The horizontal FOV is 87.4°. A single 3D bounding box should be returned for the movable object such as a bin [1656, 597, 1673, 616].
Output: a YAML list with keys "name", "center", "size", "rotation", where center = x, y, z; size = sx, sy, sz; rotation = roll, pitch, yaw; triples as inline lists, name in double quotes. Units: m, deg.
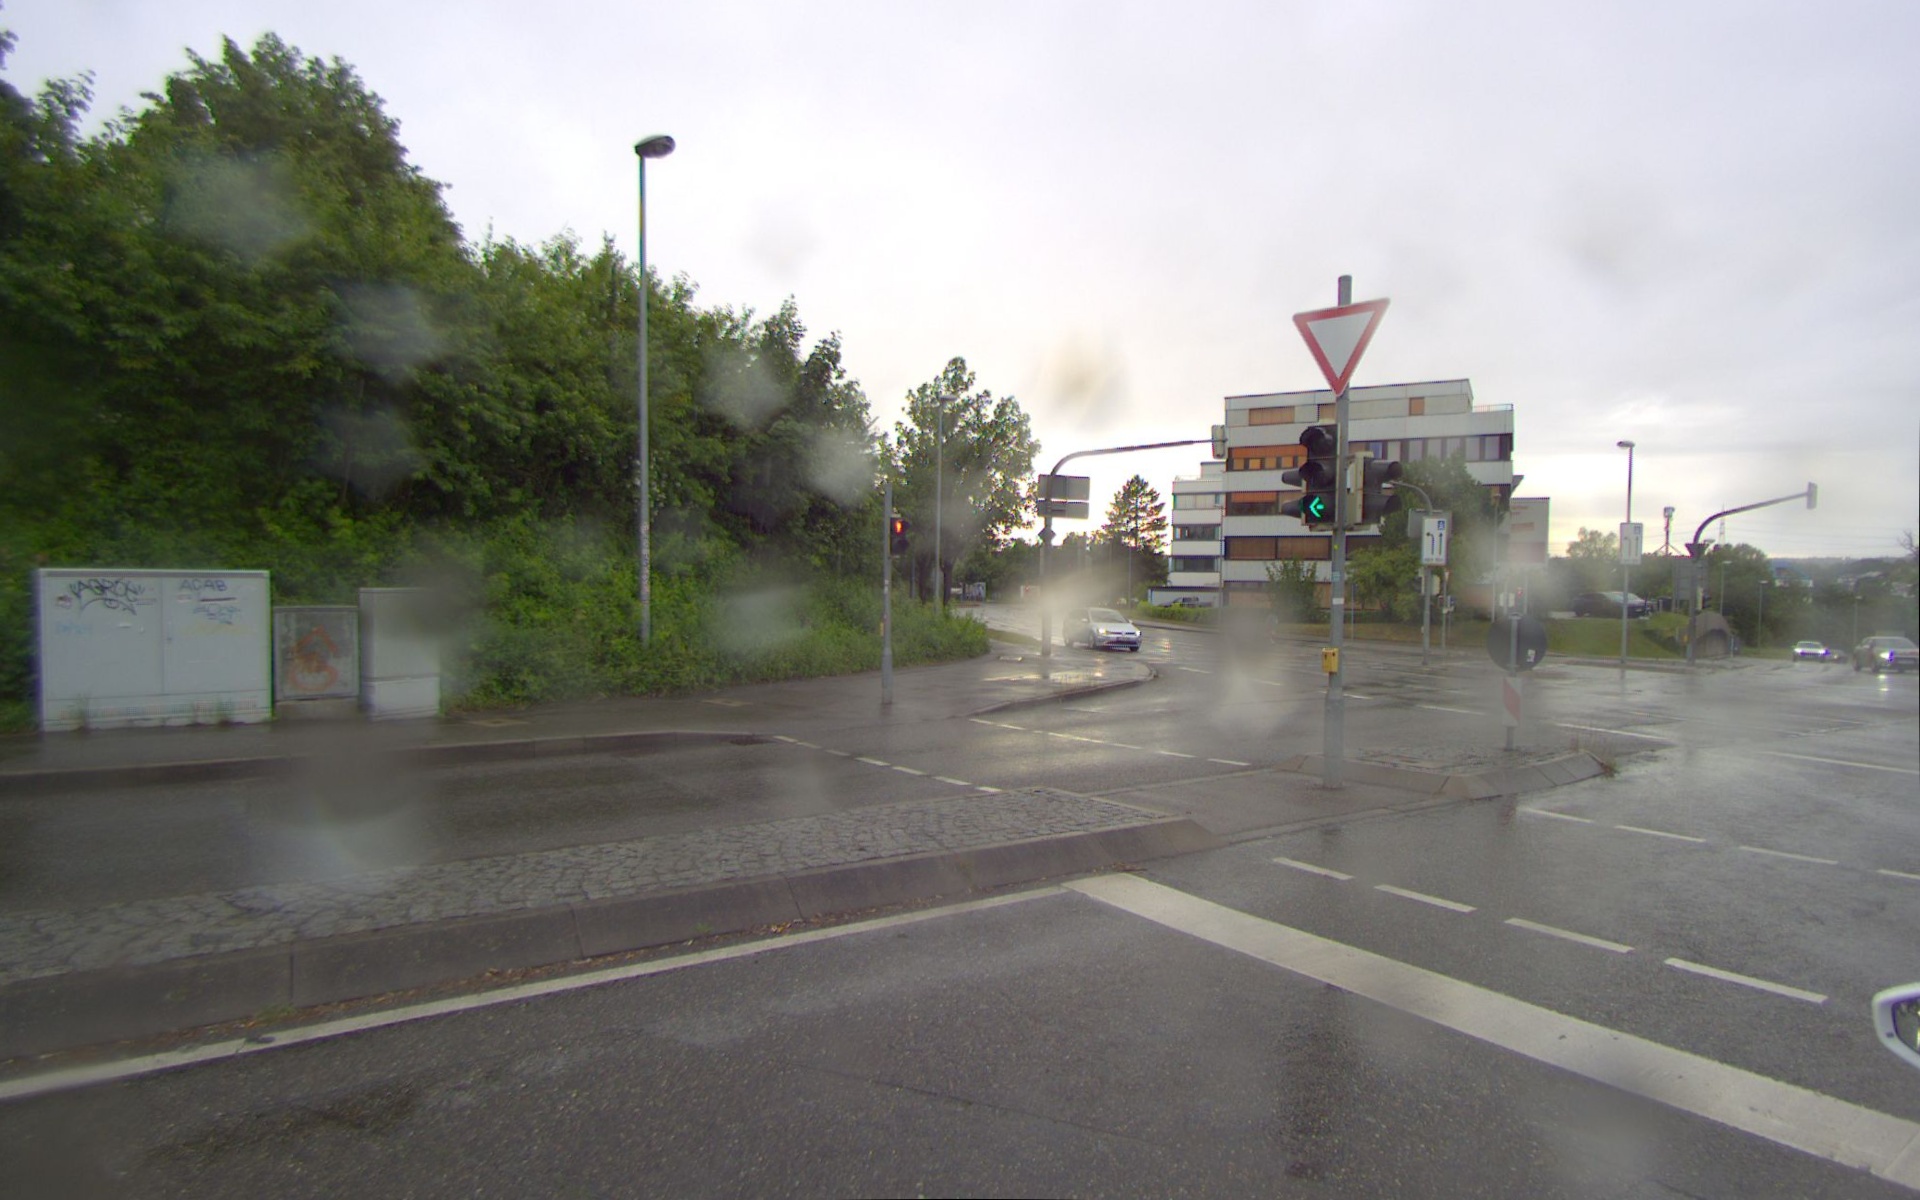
- name: "movable object such as a bin"
  center: [56.537, 0.524, 80.619]
  size: [1.069, 1.456, 1.443]
  rotation: [3, 0, 34]

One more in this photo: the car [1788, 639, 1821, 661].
- name: "car"
  center: [62.569, 3.654, 74.373]
  size: [1.701, 1.514, 3.979]
  rotation: [2, -1, 42]

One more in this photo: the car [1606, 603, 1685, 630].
- name: "car"
  center: [45.451, 1.069, 66.684]
  size: [1.872, 1.607, 3.985]
  rotation: [4, 0, -17]

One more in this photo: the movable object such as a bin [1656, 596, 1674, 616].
- name: "movable object such as a bin"
  center: [55.694, 0.493, 79.375]
  size: [1.069, 1.456, 1.443]
  rotation: [3, 0, 34]

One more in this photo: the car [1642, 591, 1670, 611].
- name: "car"
  center: [61.228, 0.082, 88.419]
  size: [1.802, 1.461, 3.990]
  rotation: [3, -1, 33]

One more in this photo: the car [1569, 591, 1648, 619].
- name: "car"
  center: [42.430, 0.299, 65.800]
  size: [1.874, 1.607, 3.980]
  rotation: [4, 0, -21]

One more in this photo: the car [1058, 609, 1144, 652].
- name: "car"
  center: [5.036, 1.069, 36.613]
  size: [1.731, 1.381, 4.523]
  rotation: [2, 0, -11]

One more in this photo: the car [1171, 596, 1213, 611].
- name: "car"
  center: [22.232, 0.323, 96.274]
  size: [3.686, 1.418, 2.000]
  rotation: [1, 1, 19]

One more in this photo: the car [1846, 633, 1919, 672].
- name: "car"
  center: [39.233, 2.194, 42.580]
  size: [1.636, 1.514, 3.993]
  rotation: [2, -1, 29]

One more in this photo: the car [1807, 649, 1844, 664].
- name: "car"
  center: [95.303, 6.211, 110.607]
  size: [3.951, 1.475, 1.890]
  rotation: [1, 1, -29]
